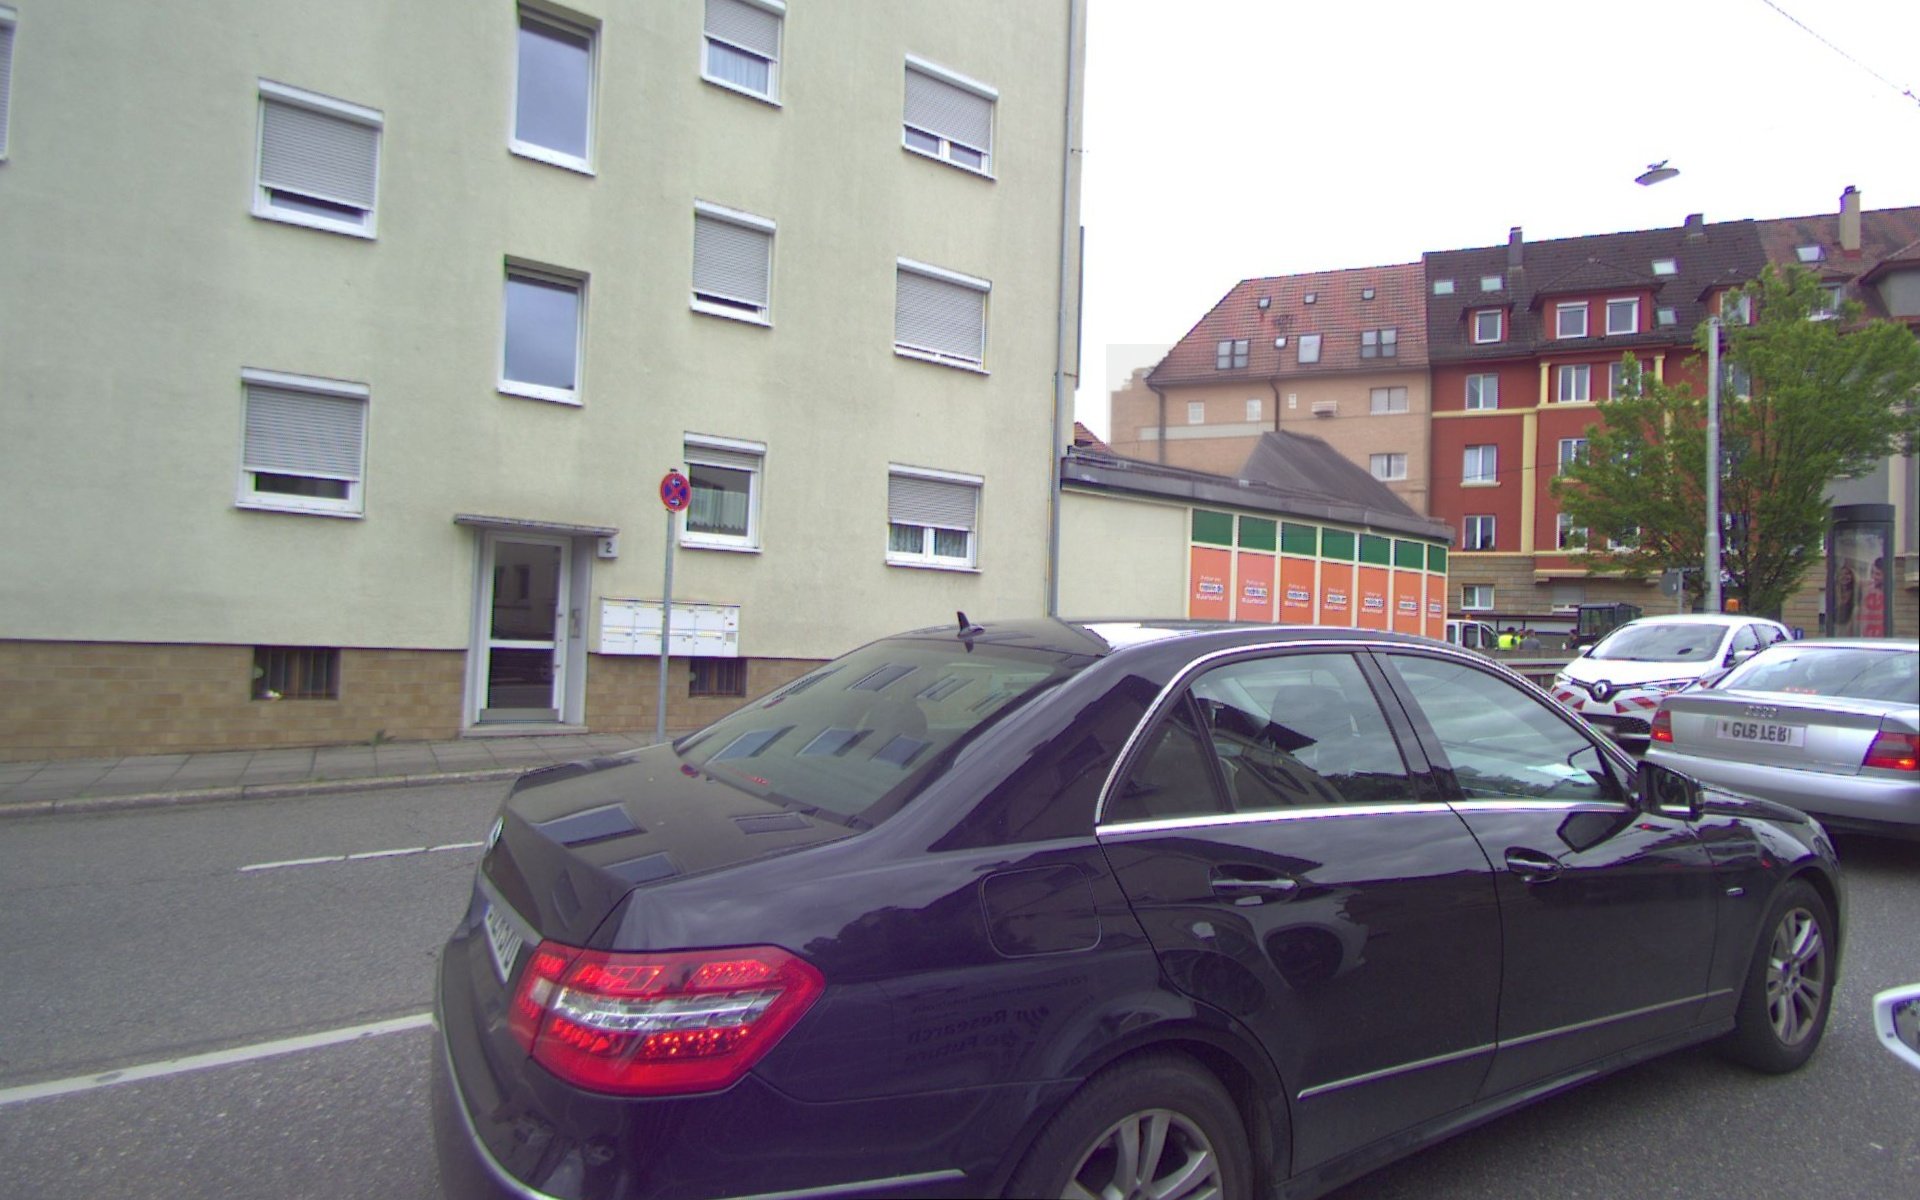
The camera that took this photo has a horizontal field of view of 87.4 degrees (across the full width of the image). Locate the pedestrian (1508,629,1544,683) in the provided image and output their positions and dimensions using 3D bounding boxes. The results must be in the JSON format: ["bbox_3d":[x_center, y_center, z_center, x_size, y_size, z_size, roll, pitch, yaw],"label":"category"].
[{"bbox_3d":[14.730,1.450,26.156,0.613,1.381,0.602,0,-1,4],"label":"pedestrian"}]

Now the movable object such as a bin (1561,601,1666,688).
[{"bbox_3d":[16.551,1.107,25.381,3.510,2.040,1.363,2,-2,-42],"label":"movable object such as a bin"}]

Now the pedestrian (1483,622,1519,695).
[{"bbox_3d":[15.374,1.650,28.558,0.810,2.040,0.680,0,0,23],"label":"pedestrian"}]

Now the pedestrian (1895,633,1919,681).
[{"bbox_3d":[27.287,1.628,28.784,0.573,1.356,0.575,0,-1,25],"label":"pedestrian"}]

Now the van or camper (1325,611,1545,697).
[{"bbox_3d":[14.532,1.574,31.018,5.894,2.369,2.686,0,-1,26],"label":"van or camper"}]

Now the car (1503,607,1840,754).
[{"bbox_3d":[8.758,0.925,12.329,4.033,1.541,1.764,2,-3,-28],"label":"car"}]

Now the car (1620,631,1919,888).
[{"bbox_3d":[6.715,0.926,7.079,4.073,1.383,1.623,1,-2,-26],"label":"car"}]

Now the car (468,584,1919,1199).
[{"bbox_3d":[1.076,0.769,3.380,4.785,1.447,1.984,1,-2,-30],"label":"car"}]
